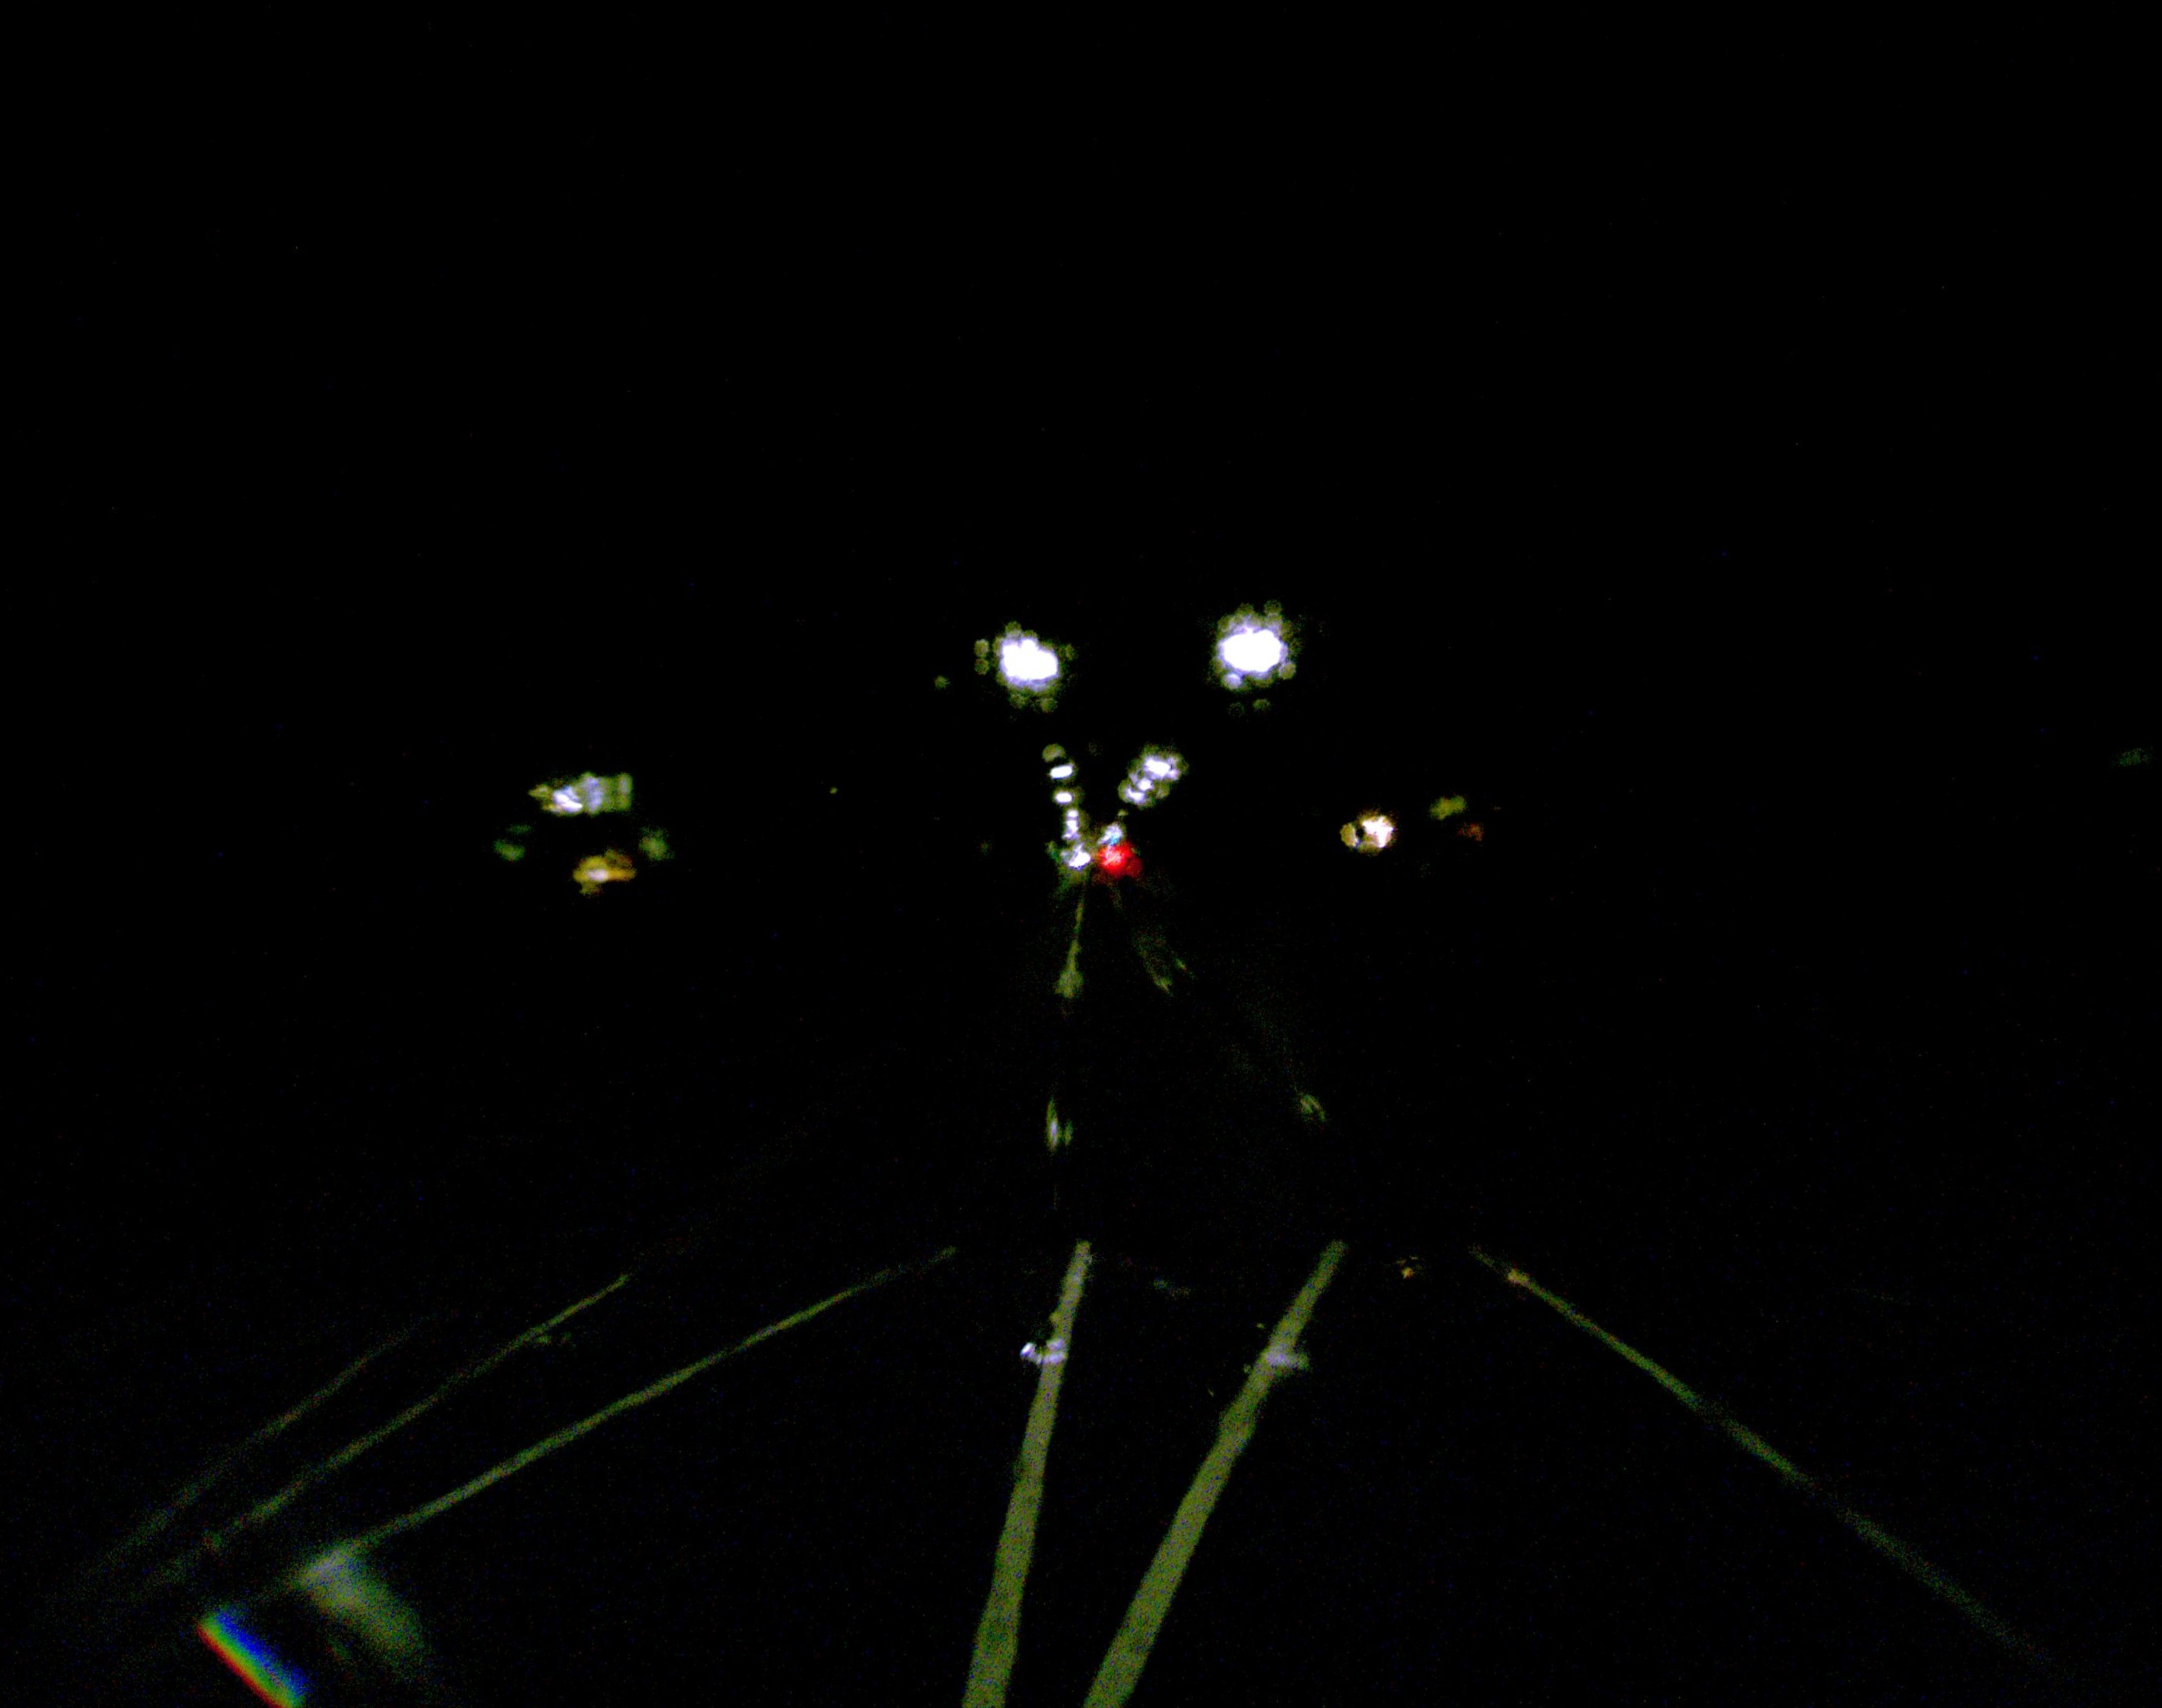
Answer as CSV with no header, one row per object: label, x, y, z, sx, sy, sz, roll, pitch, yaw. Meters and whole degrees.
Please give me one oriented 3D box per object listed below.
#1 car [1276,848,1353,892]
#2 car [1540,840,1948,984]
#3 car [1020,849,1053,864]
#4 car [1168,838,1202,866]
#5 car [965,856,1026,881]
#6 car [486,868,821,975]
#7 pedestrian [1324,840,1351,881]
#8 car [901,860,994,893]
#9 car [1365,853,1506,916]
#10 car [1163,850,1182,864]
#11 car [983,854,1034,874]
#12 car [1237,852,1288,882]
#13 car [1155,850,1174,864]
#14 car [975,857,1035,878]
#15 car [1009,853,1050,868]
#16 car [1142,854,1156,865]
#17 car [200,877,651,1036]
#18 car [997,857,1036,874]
car,9.566,0.607,31.495,1.814,1.569,4.353,-5,0,1
car,9.484,0.676,11.563,2.149,1.610,4.588,-4,1,0
car,-5.663,0.311,97.194,3.965,1.760,1.666,-2,1,-36
car,10.080,-0.192,73.835,2.248,2.494,5.258,-4,1,-2
car,-5.826,0.971,51.924,1.707,1.503,3.914,-1,1,44
car,-6.806,1.022,12.721,4.604,1.467,1.837,0,1,-19
pedestrian,11.956,0.297,35.507,0.794,1.890,1.290,-2,1,1
car,-6.751,1.100,38.598,4.349,1.459,1.677,-2,1,-38
car,9.452,0.742,20.726,1.735,1.430,4.625,-2,1,1
car,10.349,0.320,86.031,1.720,1.399,3.389,-4,1,0
car,-6.129,0.820,64.433,1.658,1.473,4.194,-3,0,42
car,9.592,0.637,40.430,1.723,1.447,3.950,-2,1,0
car,10.353,0.358,94.828,1.846,1.573,3.663,-4,1,0
car,-5.791,0.980,58.341,4.264,1.409,1.780,-3,1,-41
car,-5.527,0.697,81.479,4.021,1.519,1.796,-3,1,-42
car,10.342,0.816,115.861,1.693,1.566,3.918,-2,1,1
car,-7.436,1.081,9.088,3.708,1.509,1.656,0,1,-18
car,-6.513,1.172,77.366,1.712,1.519,3.675,-1,1,45
